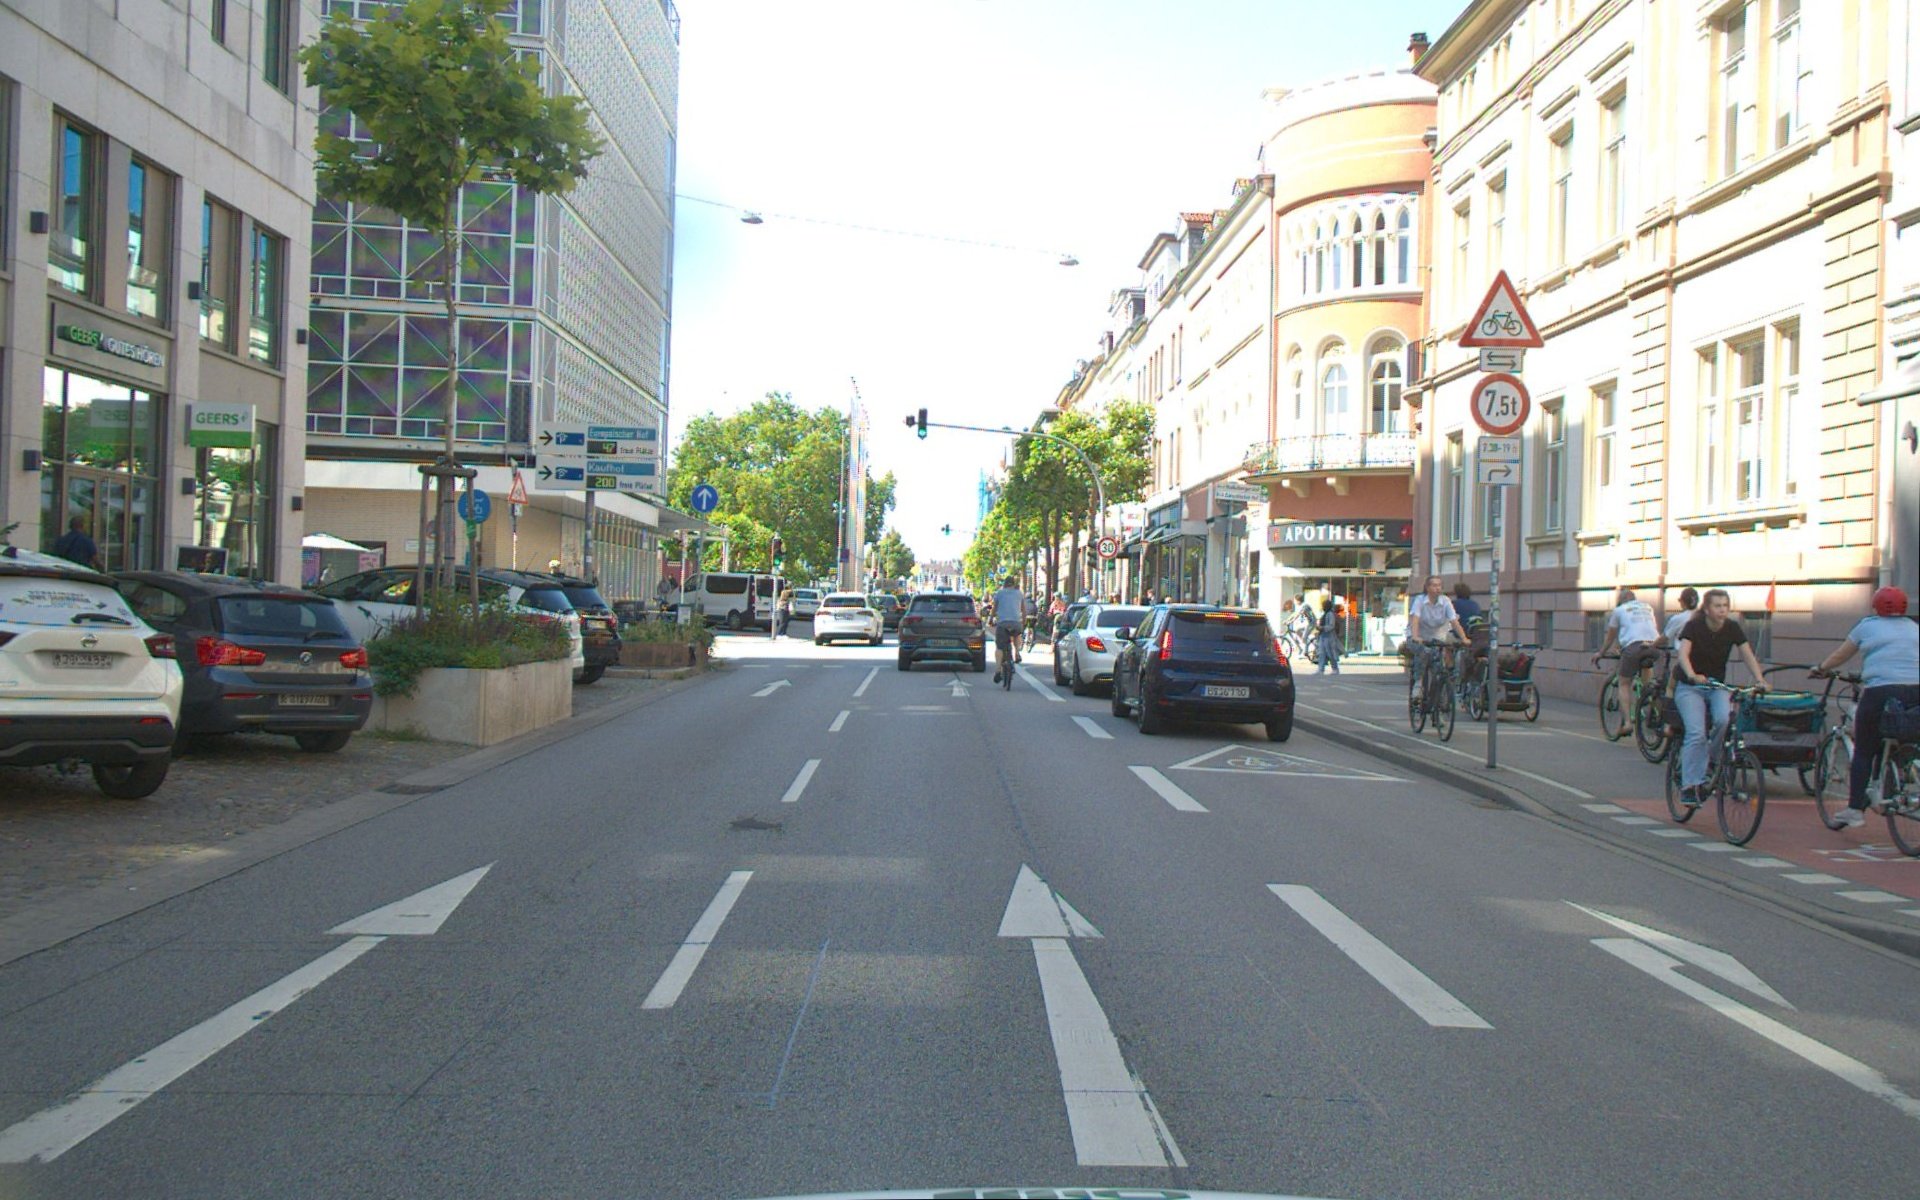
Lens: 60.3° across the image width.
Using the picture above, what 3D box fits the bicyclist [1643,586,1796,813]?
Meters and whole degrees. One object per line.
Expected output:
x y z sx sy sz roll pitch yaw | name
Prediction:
5.577 0.708 12.178 0.730 1.601 0.844 1 0 -1 | bicyclist

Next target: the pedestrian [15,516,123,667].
-11.877 -0.110 22.079 0.821 1.911 0.844 5 -1 -1 | pedestrian

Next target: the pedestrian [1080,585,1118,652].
3.900 0.526 46.479 0.628 1.736 0.789 -11 -2 -6 | pedestrian

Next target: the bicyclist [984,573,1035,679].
0.794 0.413 26.869 0.758 1.664 0.851 1 0 -1 | bicyclist

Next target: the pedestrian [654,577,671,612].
-13.437 -0.251 74.618 0.665 1.586 0.640 1 0 -6 | pedestrian

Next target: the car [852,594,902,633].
-3.204 0.502 64.424 1.808 1.474 3.999 1 0 -2 | car

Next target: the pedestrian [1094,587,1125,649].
4.553 0.552 50.241 0.772 1.826 0.641 3 0 -3 | pedestrian

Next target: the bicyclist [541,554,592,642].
-9.067 -0.041 38.108 0.824 1.994 1.017 1 0 5 | bicyclist

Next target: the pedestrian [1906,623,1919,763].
9.695 0.898 15.748 1.008 1.339 0.624 1 0 -2 | pedestrian

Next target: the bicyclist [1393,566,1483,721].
5.492 0.493 19.056 0.730 1.732 1.036 1 0 -1 | bicyclist

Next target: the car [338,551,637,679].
-7.197 0.228 25.256 3.940 1.630 1.958 4 -1 22 | car

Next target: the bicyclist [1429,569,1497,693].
7.057 0.423 23.212 0.716 1.703 0.774 0 0 0 | bicyclist

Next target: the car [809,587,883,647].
-3.179 0.454 46.741 1.808 1.587 4.000 1 0 -1 | car

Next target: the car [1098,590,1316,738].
2.917 0.735 20.470 1.848 1.517 4.288 4 -1 -2 | car

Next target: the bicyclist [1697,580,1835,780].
6.783 0.652 13.958 0.730 1.600 0.845 0 2 -1 | bicyclist

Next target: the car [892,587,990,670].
-0.442 0.535 33.785 1.809 1.586 3.998 1 0 -3 | car

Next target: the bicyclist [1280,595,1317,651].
8.793 0.589 42.991 0.841 1.436 0.501 1 0 0 | bicyclist

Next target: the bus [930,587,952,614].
-2.744 0.175 235.339 2.934 3.657 11.740 2 -1 -1 | bus

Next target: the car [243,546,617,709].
-6.910 0.348 21.853 4.071 1.665 2.104 5 0 7 | car

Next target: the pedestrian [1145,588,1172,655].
5.686 0.615 47.295 0.625 1.875 0.615 3 -1 11 | pedestrian

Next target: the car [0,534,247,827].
-6.954 0.362 11.261 3.955 1.620 1.815 7 0 32 | car

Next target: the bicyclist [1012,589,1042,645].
1.829 0.459 45.223 0.685 1.466 0.790 3 0 -4 | bicyclist

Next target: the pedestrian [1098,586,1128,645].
4.580 0.468 49.561 0.772 1.720 0.641 2 0 -3 | pedestrian

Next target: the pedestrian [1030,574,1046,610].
3.937 -0.403 83.267 0.626 1.718 0.843 4 1 -3 | pedestrian

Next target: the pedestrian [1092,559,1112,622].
4.192 -0.286 48.903 0.443 1.826 0.607 3 0 -3 | pedestrian

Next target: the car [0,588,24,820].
-6.976 0.409 7.847 4.396 1.457 1.863 7 0 19 | car

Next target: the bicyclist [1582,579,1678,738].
7.400 0.620 18.307 0.559 1.690 1.158 0 1 -2 | bicyclist

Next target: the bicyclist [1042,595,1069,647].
2.614 0.567 45.304 0.588 1.381 0.720 3 -1 -4 | bicyclist

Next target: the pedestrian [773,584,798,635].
-5.498 0.295 52.002 0.628 1.586 0.679 3 0 -13 | pedestrian

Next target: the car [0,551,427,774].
-6.817 0.459 14.428 4.230 1.474 1.782 5 0 33 | car

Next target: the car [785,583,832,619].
-7.142 0.012 78.207 1.762 1.549 4.738 3 1 -1 | car

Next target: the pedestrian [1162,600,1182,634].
8.125 0.656 63.339 0.667 1.275 0.531 0 0 -3 | pedestrian

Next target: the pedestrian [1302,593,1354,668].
8.215 0.698 36.926 0.882 1.640 0.976 0 -3 -3 | pedestrian

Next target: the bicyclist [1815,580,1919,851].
6.350 0.744 11.161 0.669 1.747 0.844 -2 0 -1 | bicyclist
